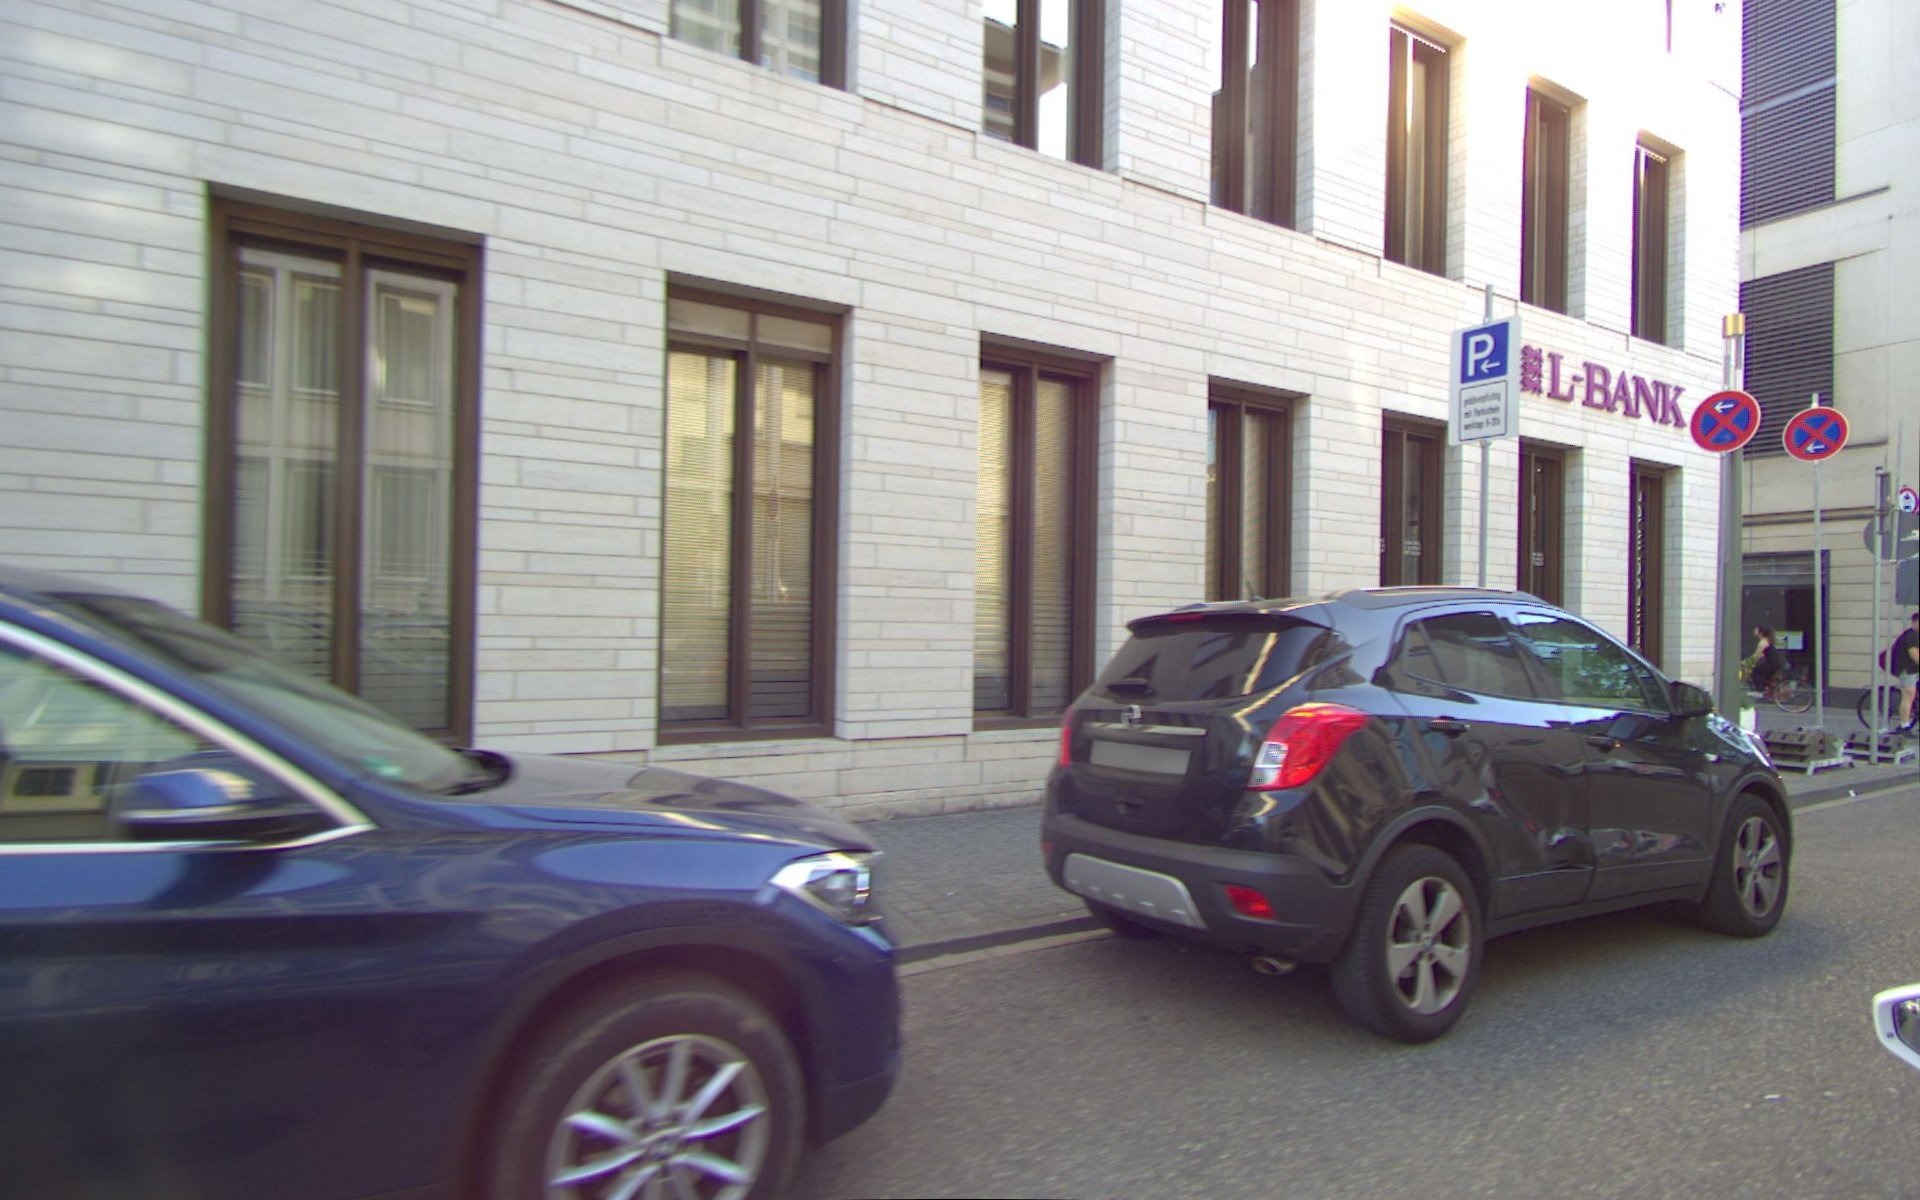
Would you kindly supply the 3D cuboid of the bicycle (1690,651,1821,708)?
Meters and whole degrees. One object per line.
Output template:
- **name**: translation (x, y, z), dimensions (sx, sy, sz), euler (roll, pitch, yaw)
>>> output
- **bicycle**: translation (16.250, 1.604, 20.590), dimensions (0.511, 1.008, 2.096), euler (2, -1, -24)

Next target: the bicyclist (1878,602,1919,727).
- **bicyclist**: translation (13.595, 0.920, 14.401), dimensions (0.497, 1.754, 0.546), euler (2, -1, -38)

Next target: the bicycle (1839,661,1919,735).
- **bicycle**: translation (13.697, 1.405, 14.239), dimensions (0.507, 0.986, 1.800), euler (3, -1, -38)

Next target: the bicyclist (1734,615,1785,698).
- **bicyclist**: translation (16.239, 1.139, 20.413), dimensions (0.491, 1.647, 0.628), euler (2, -1, -25)

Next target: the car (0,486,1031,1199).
- **car**: translation (-2.022, 0.666, 2.280), dimensions (4.104, 1.615, 1.732), euler (1, -3, -30)

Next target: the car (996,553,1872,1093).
- **car**: translation (2.443, 0.778, 5.009), dimensions (4.211, 1.699, 1.815), euler (1, -3, -29)
